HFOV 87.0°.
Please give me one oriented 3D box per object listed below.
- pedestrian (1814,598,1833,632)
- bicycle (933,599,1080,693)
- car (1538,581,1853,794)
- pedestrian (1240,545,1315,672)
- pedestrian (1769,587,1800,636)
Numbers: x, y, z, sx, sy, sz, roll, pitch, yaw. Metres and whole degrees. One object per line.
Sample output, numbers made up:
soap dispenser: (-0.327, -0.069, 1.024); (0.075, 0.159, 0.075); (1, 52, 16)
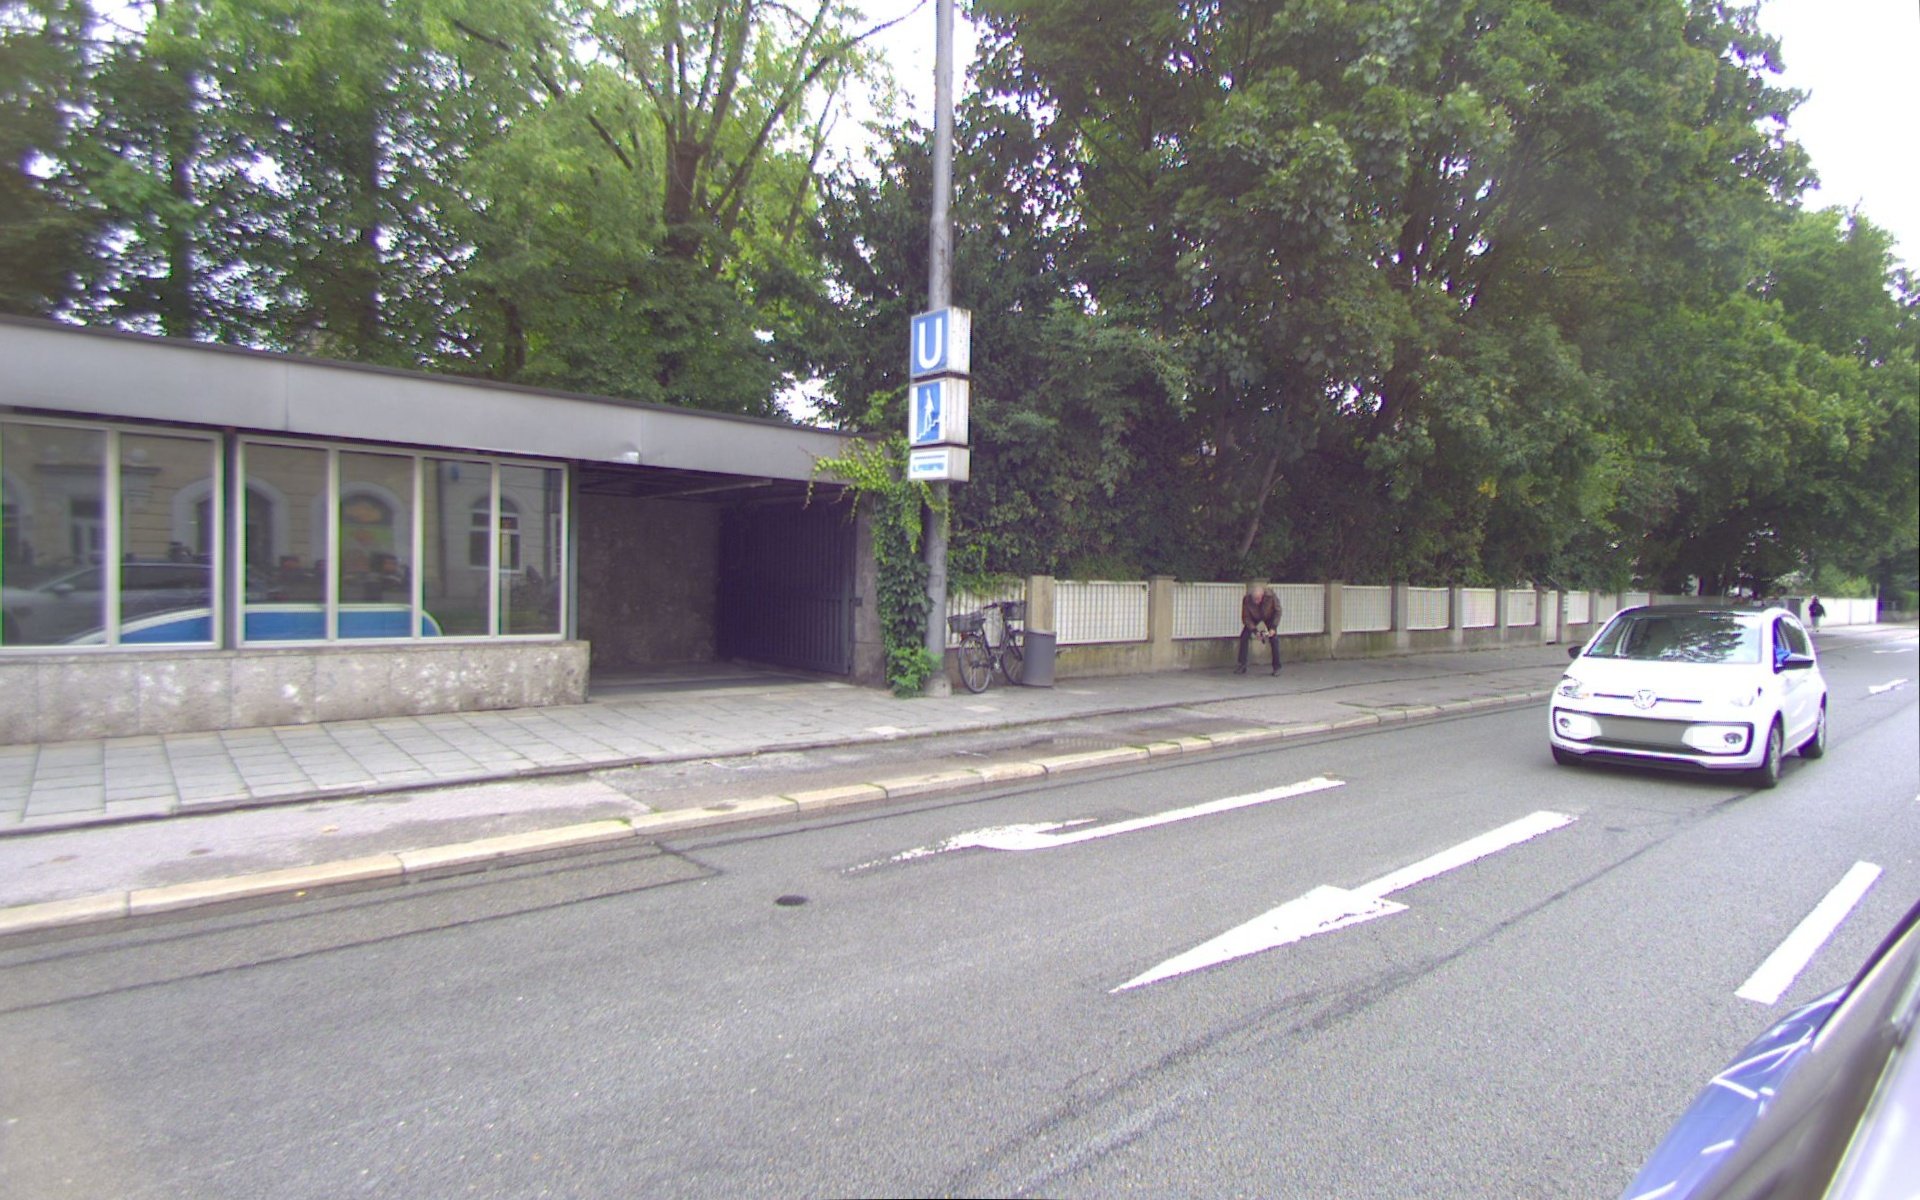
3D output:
pedestrian: (41.546, 0.700, 48.681); (0.716, 1.600, 0.529); (0, 3, -42)
bicycle: (0.623, 0.544, 12.923); (1.991, 1.104, 0.623); (0, 1, -41)
car: (6.919, 0.643, 9.406); (3.524, 1.581, 1.645); (0, 1, -42)
pedestrian: (5.097, 0.120, 16.250); (0.788, 1.966, 0.779); (0, 2, -40)
pedestrian: (29.807, 0.397, 36.588); (0.753, 1.726, 0.667); (0, 3, -42)
